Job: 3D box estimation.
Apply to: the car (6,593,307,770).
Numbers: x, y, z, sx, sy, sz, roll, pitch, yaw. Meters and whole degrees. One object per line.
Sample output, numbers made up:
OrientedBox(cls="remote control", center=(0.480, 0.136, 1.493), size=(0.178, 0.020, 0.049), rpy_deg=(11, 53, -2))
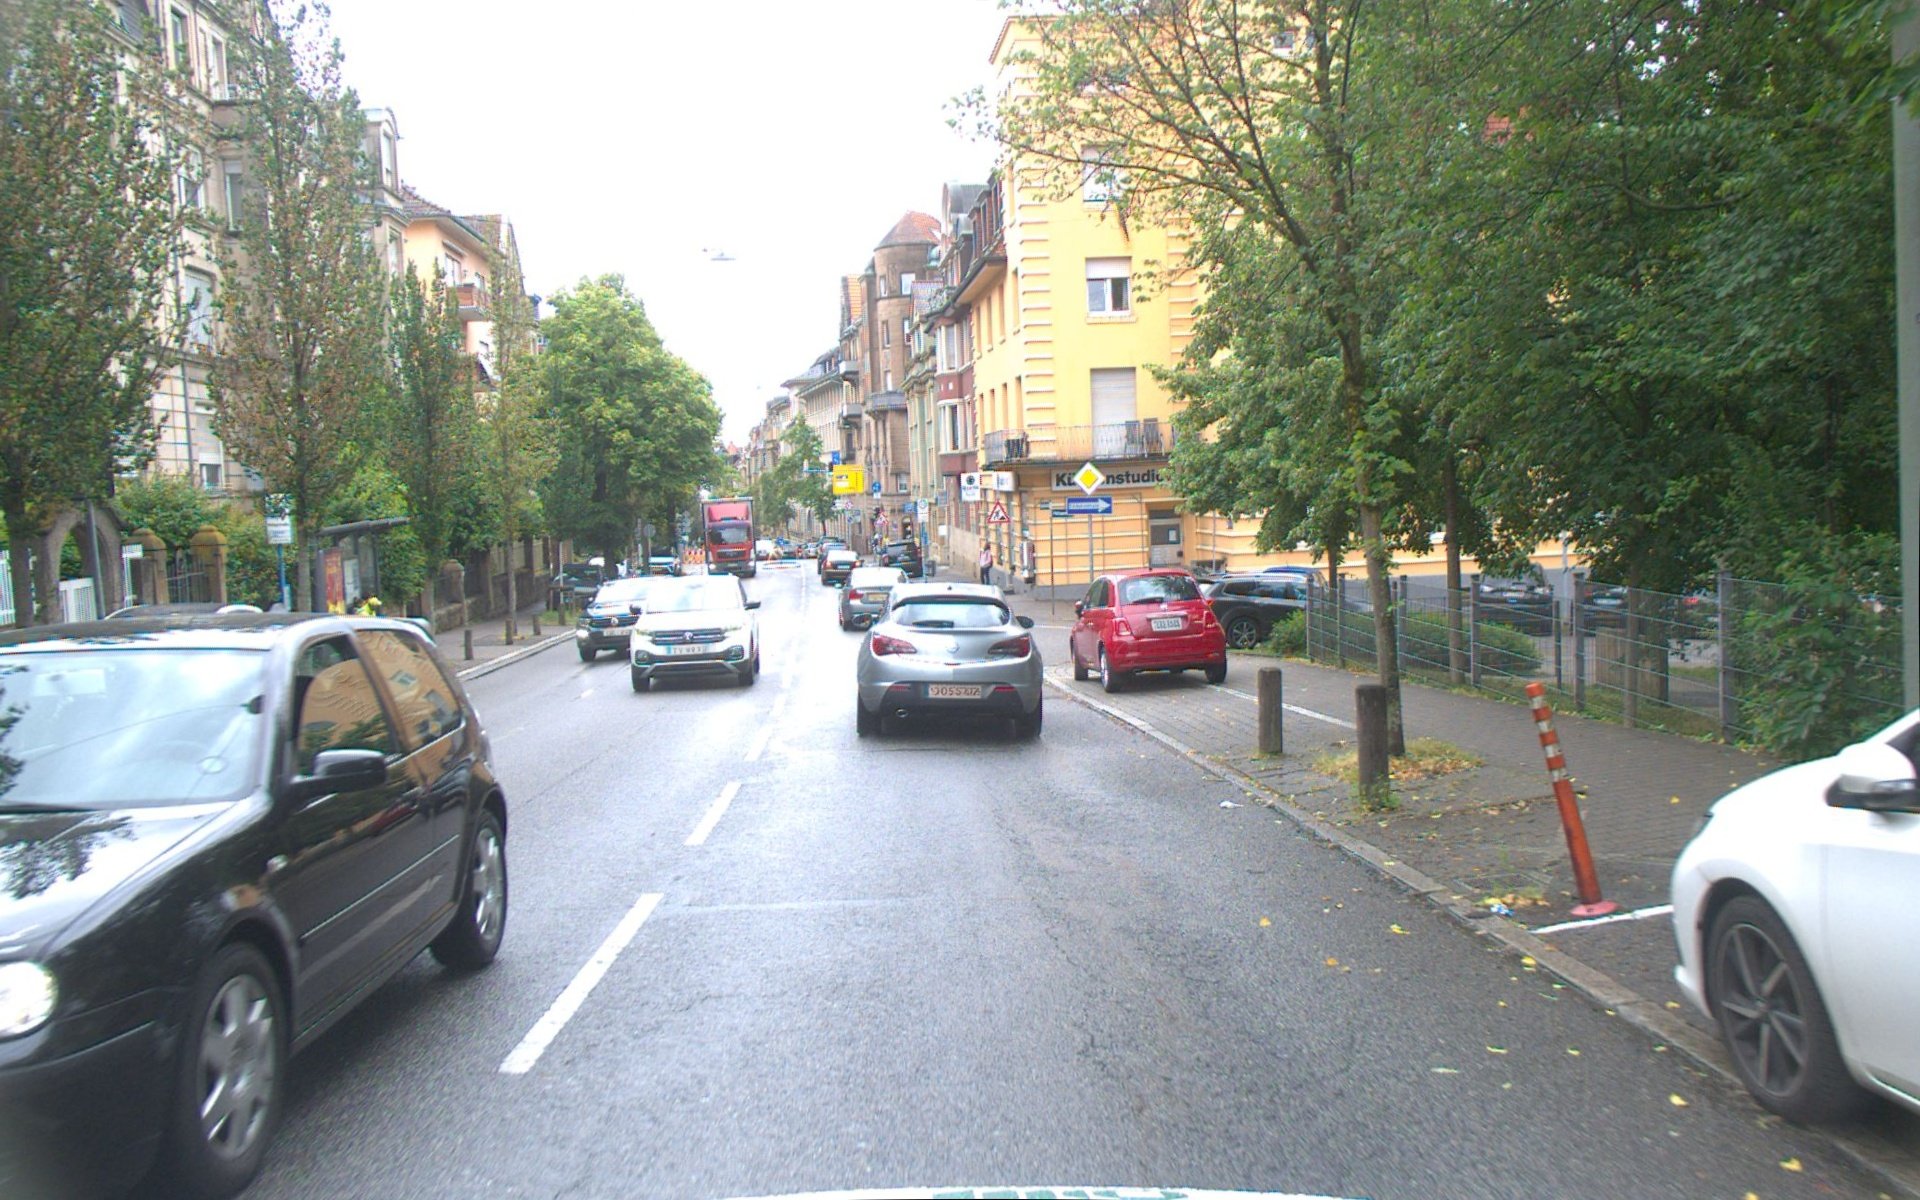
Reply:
OrientedBox(cls="car", center=(-9.442, 0.864, 19.842), size=(1.754, 1.679, 4.191), rpy_deg=(-6, 1, -6))

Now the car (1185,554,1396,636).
OrientedBox(cls="car", center=(6.486, -0.093, 32.657), size=(3.700, 1.455, 1.780), rpy_deg=(2, -1, -6))

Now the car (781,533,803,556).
OrientedBox(cls="car", center=(-14.759, -4.856, 145.486), size=(1.748, 1.887, 3.993), rpy_deg=(-1, 0, -8))

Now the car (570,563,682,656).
OrientedBox(cls="car", center=(-6.647, 0.154, 33.183), size=(1.589, 1.679, 3.142), rpy_deg=(-3, 1, -1))

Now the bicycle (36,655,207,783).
OrientedBox(cls="bicycle", center=(-8.709, 1.226, 17.209), size=(1.436, 1.140, 0.380), rpy_deg=(-6, 2, -8))

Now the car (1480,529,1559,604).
OrientedBox(cls="car", center=(13.730, -0.854, 40.485), size=(1.739, 1.695, 3.788), rpy_deg=(0, 3, 20))

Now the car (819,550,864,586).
OrientedBox(cls="car", center=(-4.948, -1.360, 68.748), size=(1.733, 1.439, 3.712), rpy_deg=(0, 2, -6))

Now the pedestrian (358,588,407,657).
OrientedBox(cls="pedestrian", center=(-12.133, 0.470, 34.752), size=(0.693, 1.366, 0.613), rpy_deg=(-5, 1, -2))

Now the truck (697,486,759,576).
OrientedBox(cls="truck", center=(-11.690, -3.580, 84.185), size=(2.736, 4.203, 10.840), rpy_deg=(-2, 3, -7))

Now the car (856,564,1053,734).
OrientedBox(cls="car", center=(-0.137, 0.407, 17.241), size=(1.778, 1.454, 3.999), rpy_deg=(-2, 2, -3))

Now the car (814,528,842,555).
OrientedBox(cls="car", center=(-8.209, -3.629, 102.615), size=(1.608, 1.563, 3.713), rpy_deg=(-2, 1, -5))

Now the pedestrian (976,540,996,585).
OrientedBox(cls="pedestrian", center=(0.895, -1.304, 56.965), size=(0.600, 1.522, 0.552), rpy_deg=(-2, 3, -2))

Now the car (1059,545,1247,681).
OrientedBox(cls="car", center=(2.536, 0.154, 22.666), size=(1.780, 1.492, 3.998), rpy_deg=(-7, 0, -3))

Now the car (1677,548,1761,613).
OrientedBox(cls="car", center=(19.034, -0.522, 41.592), size=(1.740, 1.454, 3.786), rpy_deg=(0, 3, 22))

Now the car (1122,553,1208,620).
OrientedBox(cls="car", center=(4.940, -0.358, 39.518), size=(1.738, 1.454, 3.790), rpy_deg=(-1, 3, 11))

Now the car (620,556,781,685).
OrientedBox(cls="car", center=(-3.790, 0.242, 24.806), size=(1.786, 1.679, 3.999), rpy_deg=(-3, 1, -1))

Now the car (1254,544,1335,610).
OrientedBox(cls="car", center=(8.390, -0.606, 41.250), size=(1.738, 1.454, 3.790), rpy_deg=(0, 3, 15))

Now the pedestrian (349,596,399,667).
OrientedBox(cls="pedestrian", center=(-12.072, 0.639, 34.111), size=(0.693, 1.366, 0.613), rpy_deg=(-5, 1, -2))

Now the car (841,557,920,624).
OrientedBox(cls="car", center=(-1.857, -0.258, 38.558), size=(1.741, 1.454, 3.784), rpy_deg=(-1, 2, -3))

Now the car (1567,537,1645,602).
OrientedBox(cls="car", center=(16.163, -0.797, 41.340), size=(1.740, 1.454, 3.786), rpy_deg=(0, 3, 22))

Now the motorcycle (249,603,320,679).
OrientedBox(cls="motorcycle", center=(-11.935, 0.713, 29.253), size=(0.548, 1.259, 1.644), rpy_deg=(-3, 0, -1))

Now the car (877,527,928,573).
OrientedBox(cls="car", center=(-2.570, -2.205, 73.590), size=(1.956, 1.717, 3.997), rpy_deg=(-7, 1, -4))

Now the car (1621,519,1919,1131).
OrientedBox(cls="car", center=(3.272, 0.469, 3.411), size=(1.937, 1.477, 4.112), rpy_deg=(-5, 0, -2))

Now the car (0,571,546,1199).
OrientedBox(cls="car", center=(-2.548, 0.715, 5.148), size=(1.628, 1.473, 3.991), rpy_deg=(-3, 0, -3))

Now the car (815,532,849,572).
OrientedBox(cls="car", center=(-6.313, -2.376, 81.321), size=(1.608, 1.717, 3.715), rpy_deg=(-2, 5, -5))
